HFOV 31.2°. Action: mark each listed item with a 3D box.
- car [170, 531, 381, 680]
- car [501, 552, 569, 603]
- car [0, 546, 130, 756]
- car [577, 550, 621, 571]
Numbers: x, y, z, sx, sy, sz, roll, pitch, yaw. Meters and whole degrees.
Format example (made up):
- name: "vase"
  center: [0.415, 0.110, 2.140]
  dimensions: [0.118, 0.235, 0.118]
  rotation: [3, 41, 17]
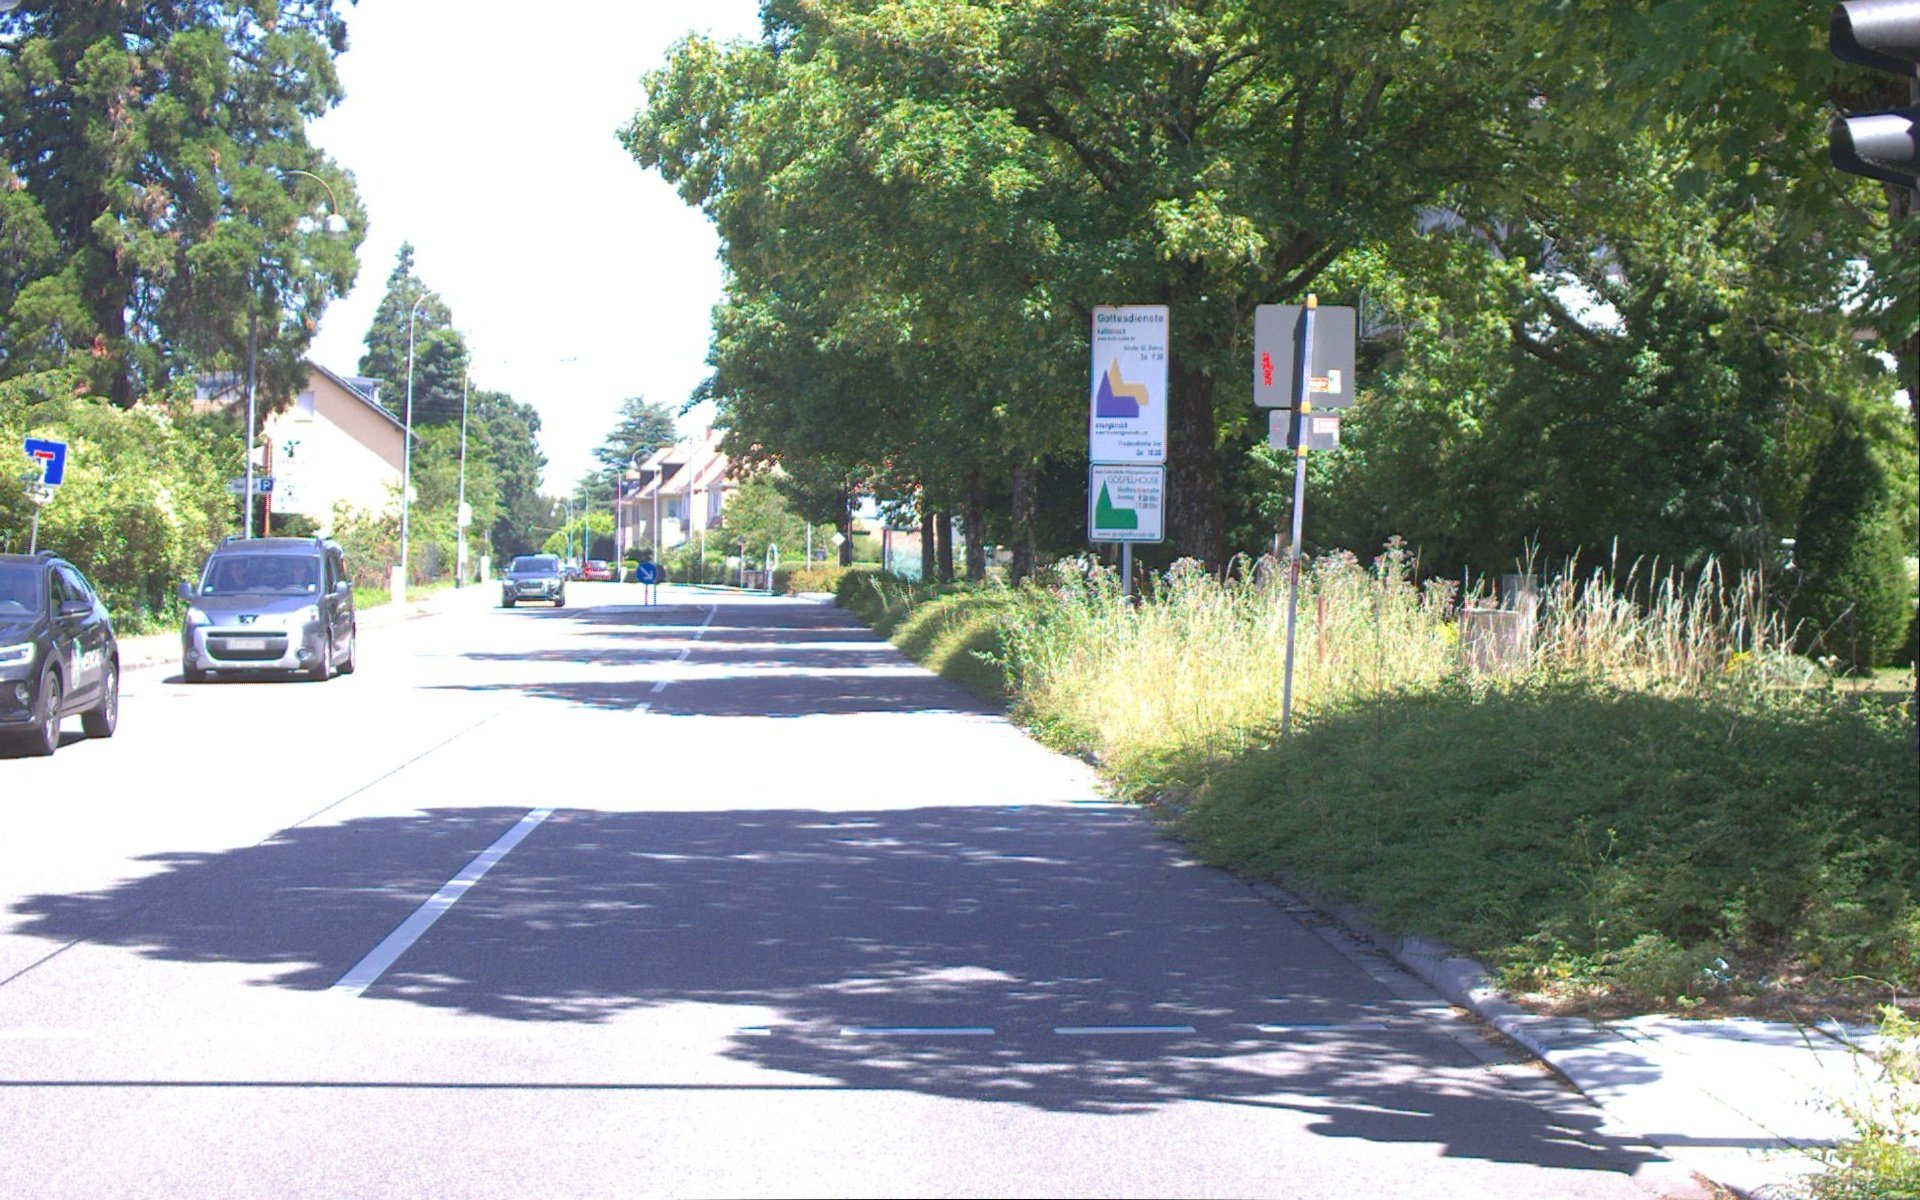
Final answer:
- name: "car"
  center: [-8.548, 0.035, 43.284]
  dimensions: [1.811, 1.756, 4.570]
  rotation: [0, 1, -1]
- name: "car"
  center: [-13.158, -0.713, 106.669]
  dimensions: [1.793, 1.531, 4.316]
  rotation: [0, 1, -3]
- name: "car"
  center: [-7.696, 0.336, 26.608]
  dimensions: [1.869, 1.501, 4.053]
  rotation: [0, 1, -5]
- name: "car"
  center: [-23.870, -2.627, 227.367]
  dimensions: [1.943, 1.355, 4.465]
  rotation: [0, 1, -19]
